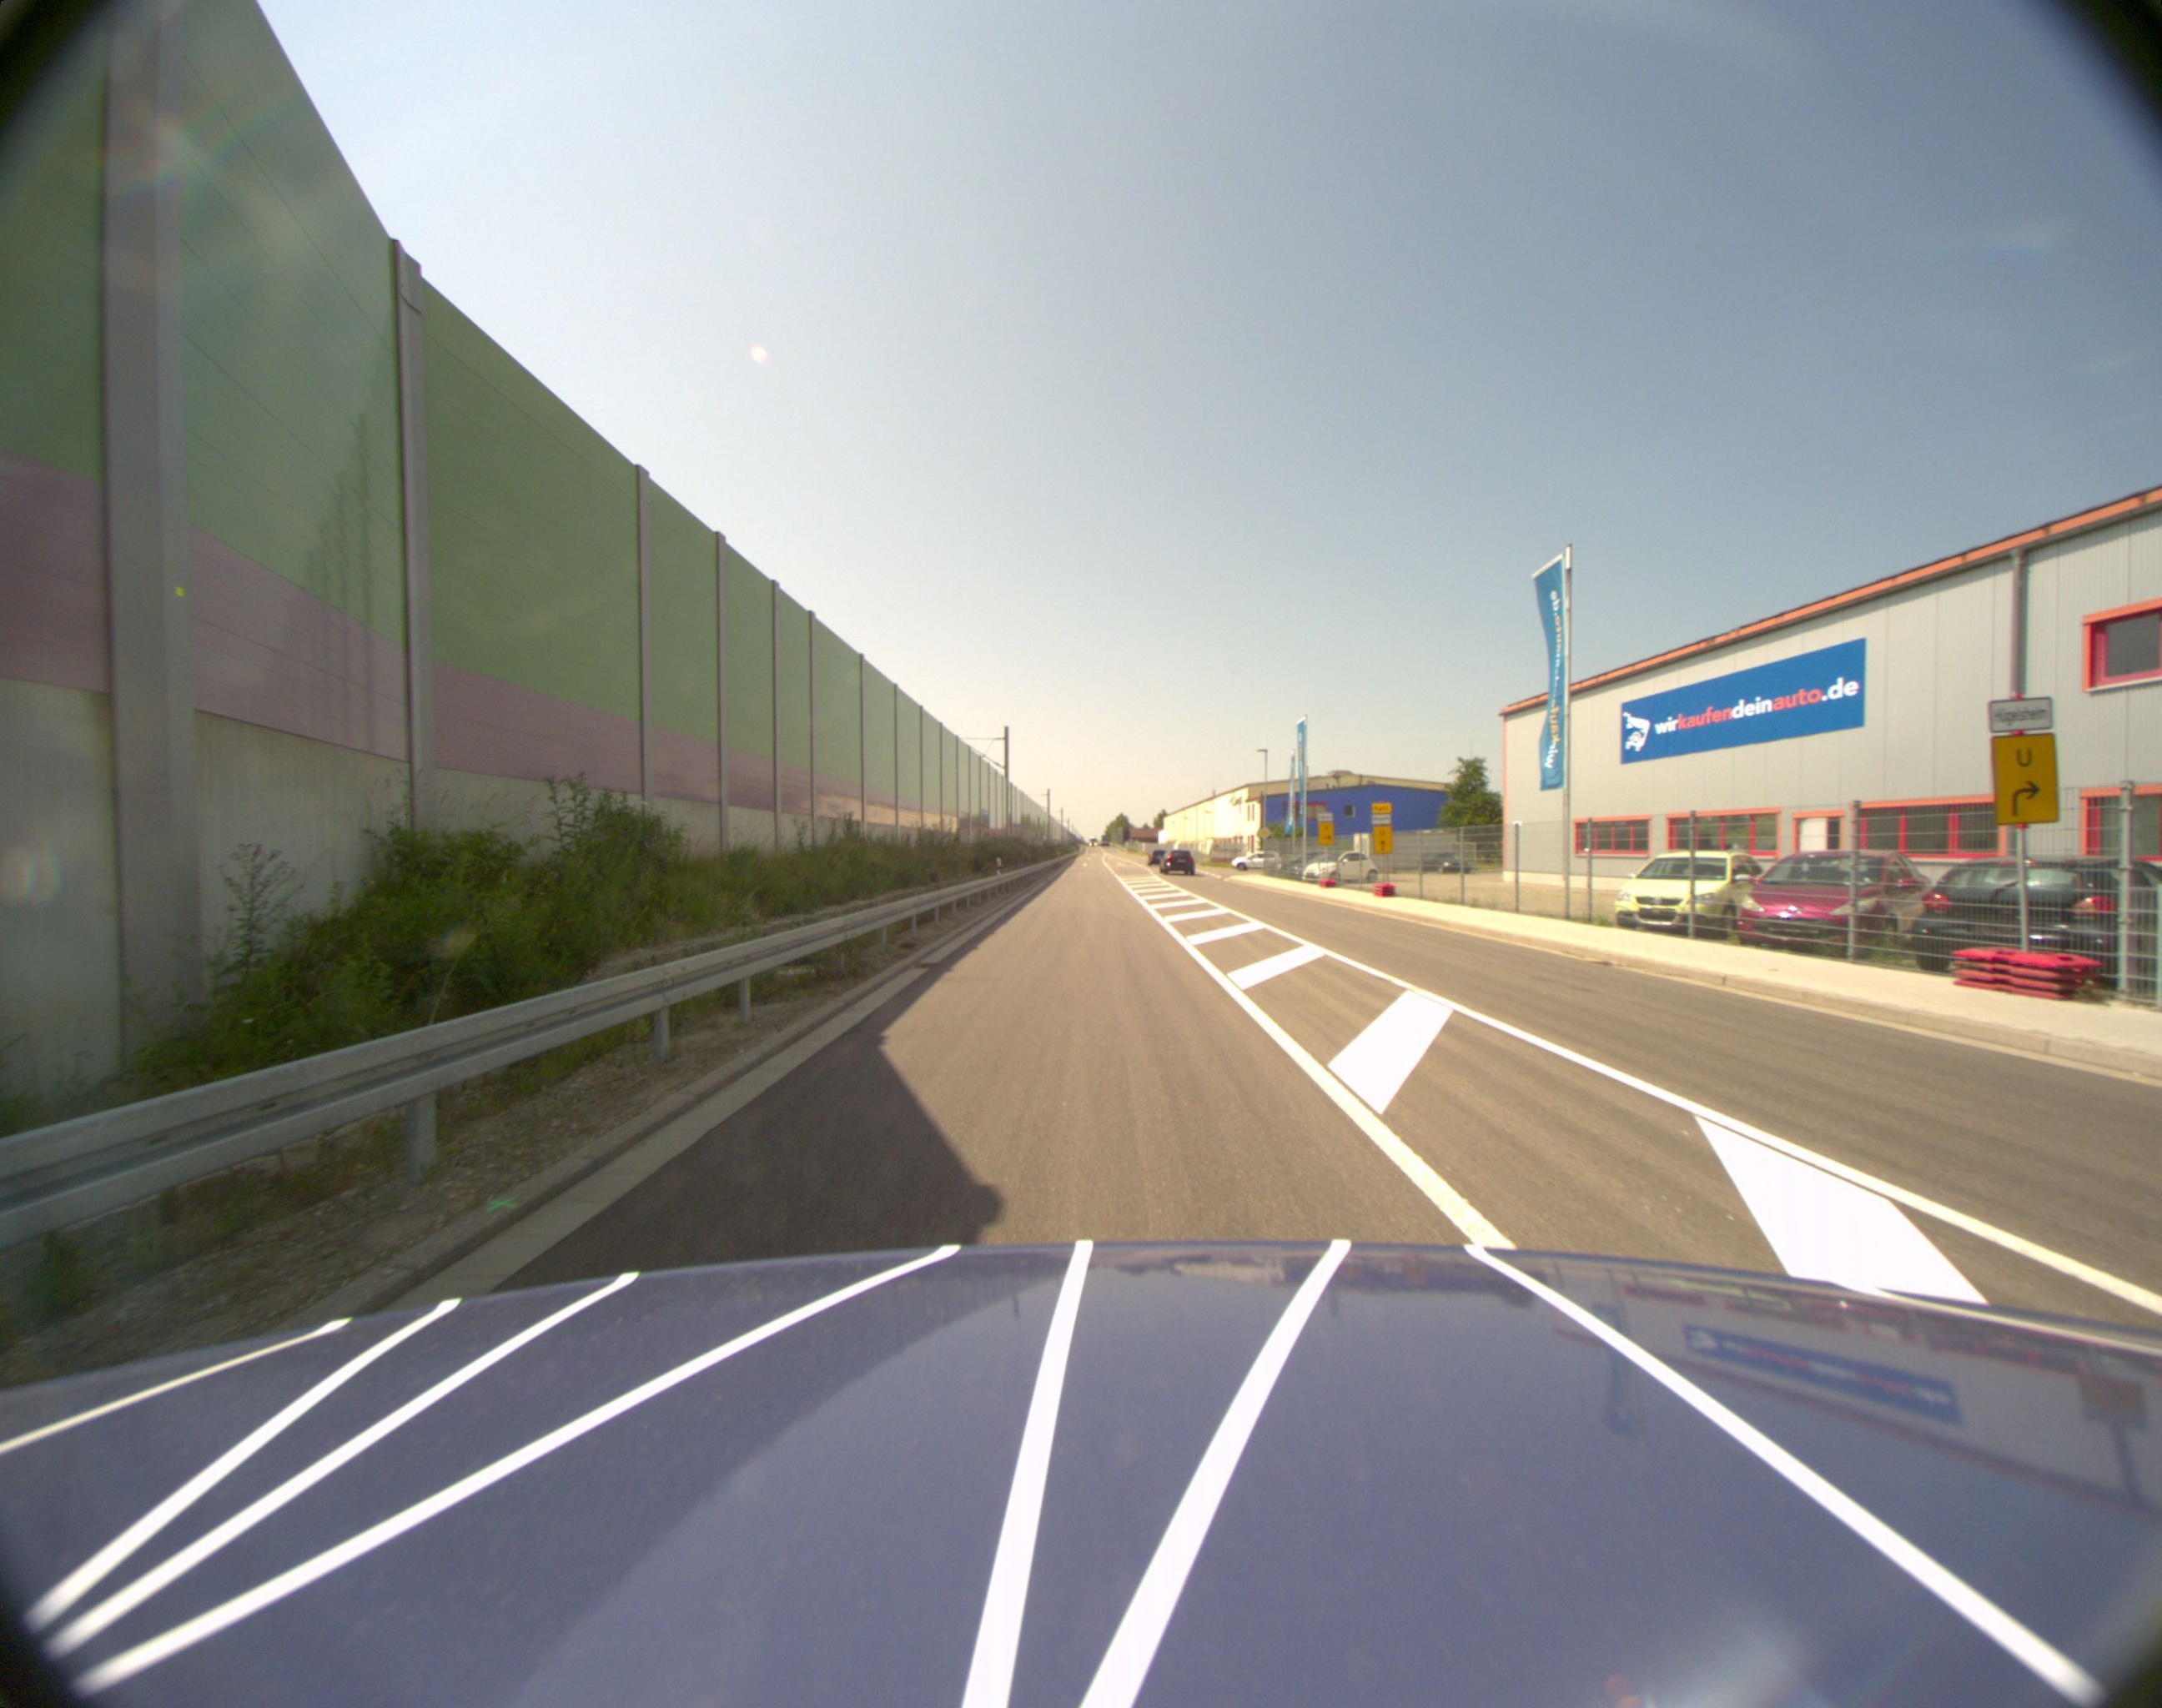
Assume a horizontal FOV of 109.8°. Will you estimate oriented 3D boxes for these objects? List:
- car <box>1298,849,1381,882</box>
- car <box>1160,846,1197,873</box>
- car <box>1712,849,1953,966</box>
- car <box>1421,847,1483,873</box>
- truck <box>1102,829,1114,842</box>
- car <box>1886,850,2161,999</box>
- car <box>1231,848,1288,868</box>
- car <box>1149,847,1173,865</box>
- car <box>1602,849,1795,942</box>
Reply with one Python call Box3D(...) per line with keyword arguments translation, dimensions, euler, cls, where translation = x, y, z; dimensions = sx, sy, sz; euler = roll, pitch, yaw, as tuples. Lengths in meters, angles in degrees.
Box3D(translation=(11.950, 0.496, 35.123), dimensions=(3.491, 1.456, 1.587), euler=(-1, 1, -24), cls="car")
Box3D(translation=(6.211, 0.322, 48.802), dimensions=(1.885, 1.607, 4.522), euler=(2, 1, 2), cls="car")
Box3D(translation=(11.628, 0.689, 11.708), dimensions=(4.007, 1.485, 1.739), euler=(-1, 1, -32), cls="car")
Box3D(translation=(22.246, 0.327, 45.698), dimensions=(1.774, 1.493, 4.000), euler=(0, 0, 0), cls="car")
Box3D(translation=(8.691, -5.809, 244.196), dimensions=(3.563, 3.855, 11.415), euler=(0, 0, 2), cls="truck")
Box3D(translation=(12.120, 0.719, 9.417), dimensions=(4.005, 1.485, 1.740), euler=(-1, 1, -25), cls="car")
Box3D(translation=(13.964, 0.320, 59.459), dimensions=(4.152, 1.493, 1.778), euler=(0, 0, 20), cls="car")
Box3D(translation=(7.355, 0.150, 70.077), dimensions=(1.746, 1.584, 3.796), euler=(2, 1, 1), cls="car")
Box3D(translation=(11.771, 0.676, 14.421), dimensions=(4.101, 1.485, 1.739), euler=(-1, 1, -34), cls="car")
